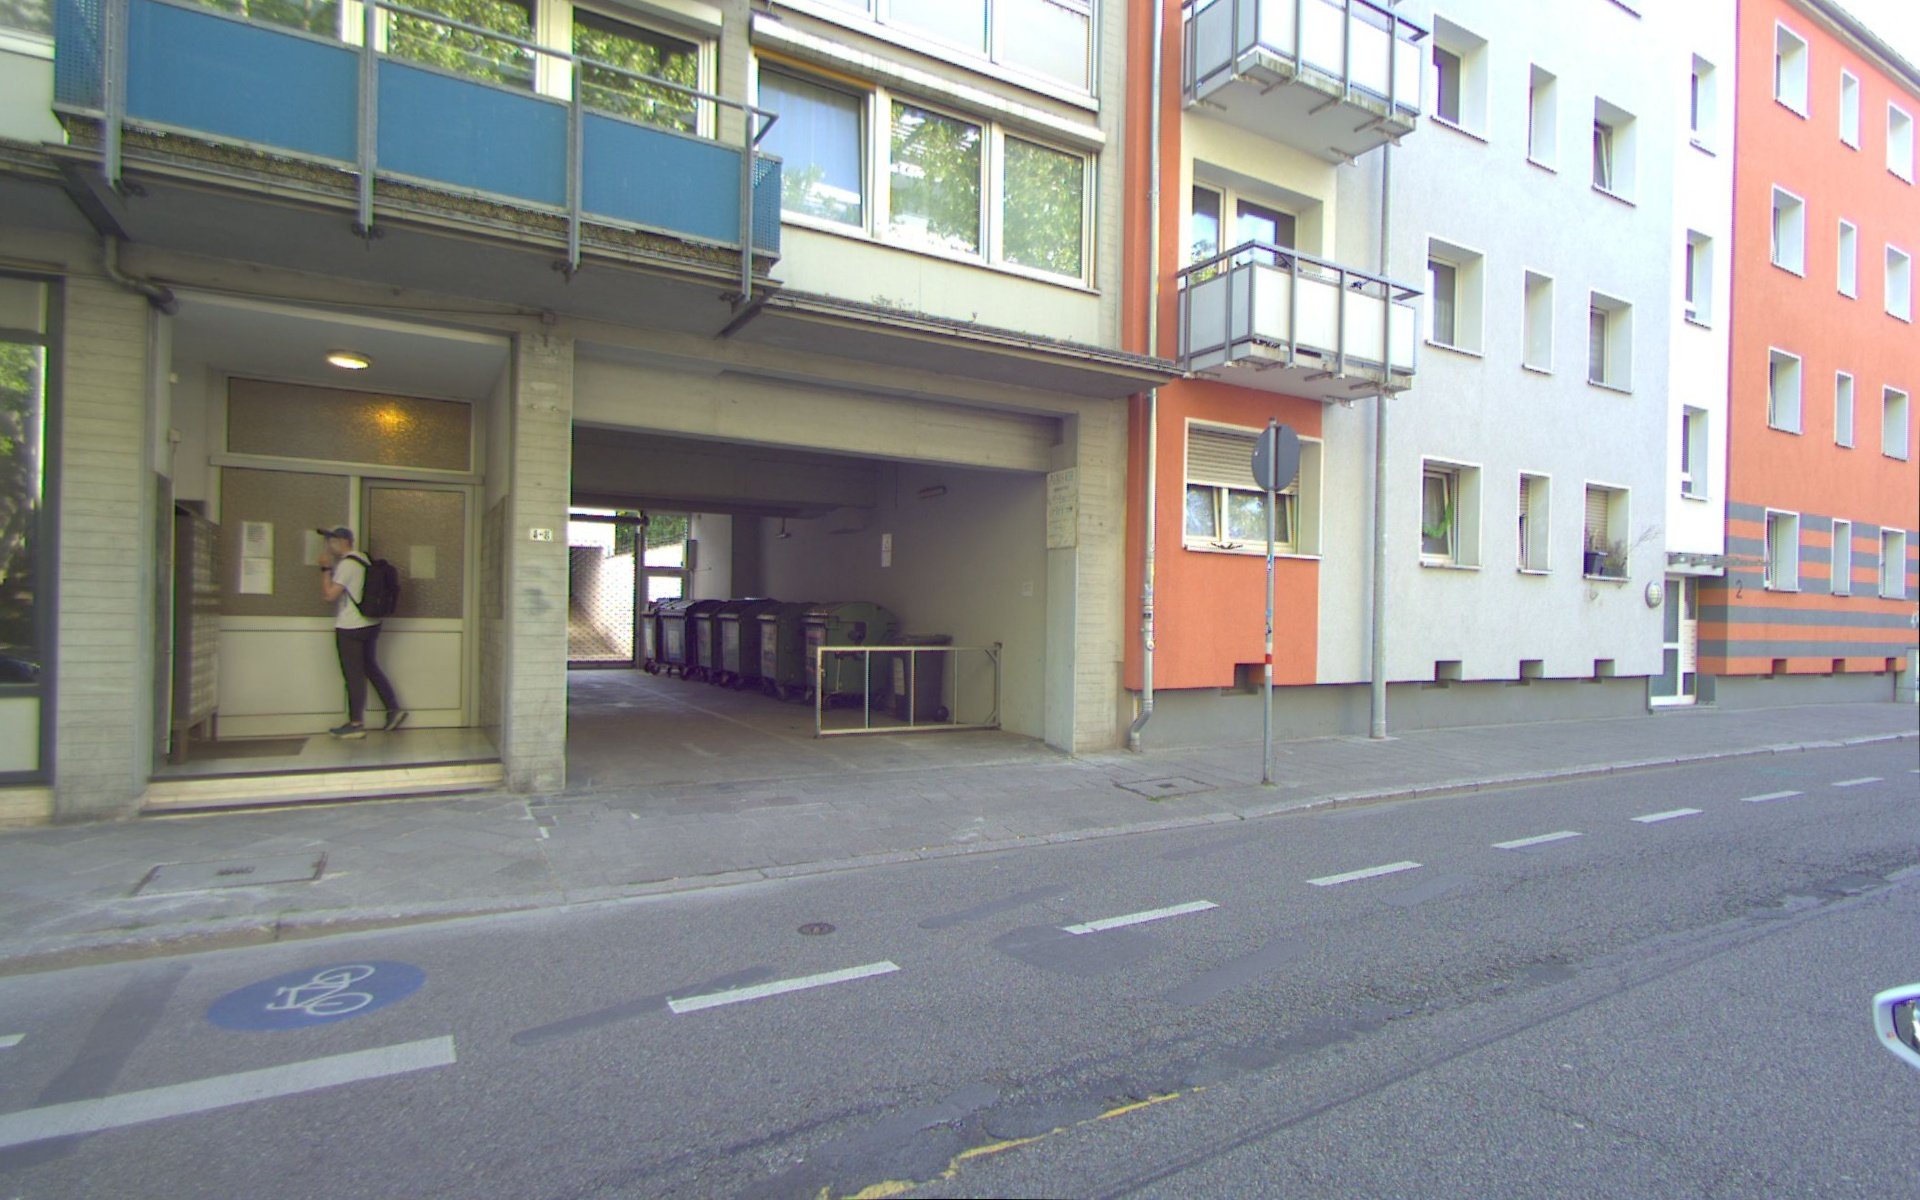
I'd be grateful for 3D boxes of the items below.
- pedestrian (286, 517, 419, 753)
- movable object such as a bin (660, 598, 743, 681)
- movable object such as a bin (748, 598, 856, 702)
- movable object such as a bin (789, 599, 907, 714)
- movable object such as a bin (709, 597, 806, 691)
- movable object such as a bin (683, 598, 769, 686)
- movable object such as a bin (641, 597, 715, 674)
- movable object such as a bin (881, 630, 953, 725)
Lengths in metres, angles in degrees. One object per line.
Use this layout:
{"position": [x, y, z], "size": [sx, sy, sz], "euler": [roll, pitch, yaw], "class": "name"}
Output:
{"position": [-5.181, 0.288, 8.585], "size": [0.572, 1.904, 0.783], "euler": [2, 0, 38], "class": "pedestrian"}
{"position": [-4.837, 0.726, 18.746], "size": [1.186, 1.467, 1.222], "euler": [2, 0, -30], "class": "movable object such as a bin"}
{"position": [-2.400, 0.725, 15.128], "size": [1.186, 1.467, 1.319], "euler": [2, 0, -30], "class": "movable object such as a bin"}
{"position": [-1.560, 0.744, 13.795], "size": [1.159, 1.467, 1.319], "euler": [2, 0, -30], "class": "movable object such as a bin"}
{"position": [-3.366, 0.704, 16.613], "size": [1.186, 1.467, 1.319], "euler": [2, 0, -30], "class": "movable object such as a bin"}
{"position": [-4.137, 0.724, 17.703], "size": [1.186, 1.467, 1.114], "euler": [2, 0, -30], "class": "movable object such as a bin"}
{"position": [-5.613, 0.691, 19.975], "size": [1.186, 1.467, 1.027], "euler": [2, 0, -30], "class": "movable object such as a bin"}
{"position": [-0.532, 0.944, 12.403], "size": [0.745, 1.116, 0.463], "euler": [2, 0, -30], "class": "movable object such as a bin"}
